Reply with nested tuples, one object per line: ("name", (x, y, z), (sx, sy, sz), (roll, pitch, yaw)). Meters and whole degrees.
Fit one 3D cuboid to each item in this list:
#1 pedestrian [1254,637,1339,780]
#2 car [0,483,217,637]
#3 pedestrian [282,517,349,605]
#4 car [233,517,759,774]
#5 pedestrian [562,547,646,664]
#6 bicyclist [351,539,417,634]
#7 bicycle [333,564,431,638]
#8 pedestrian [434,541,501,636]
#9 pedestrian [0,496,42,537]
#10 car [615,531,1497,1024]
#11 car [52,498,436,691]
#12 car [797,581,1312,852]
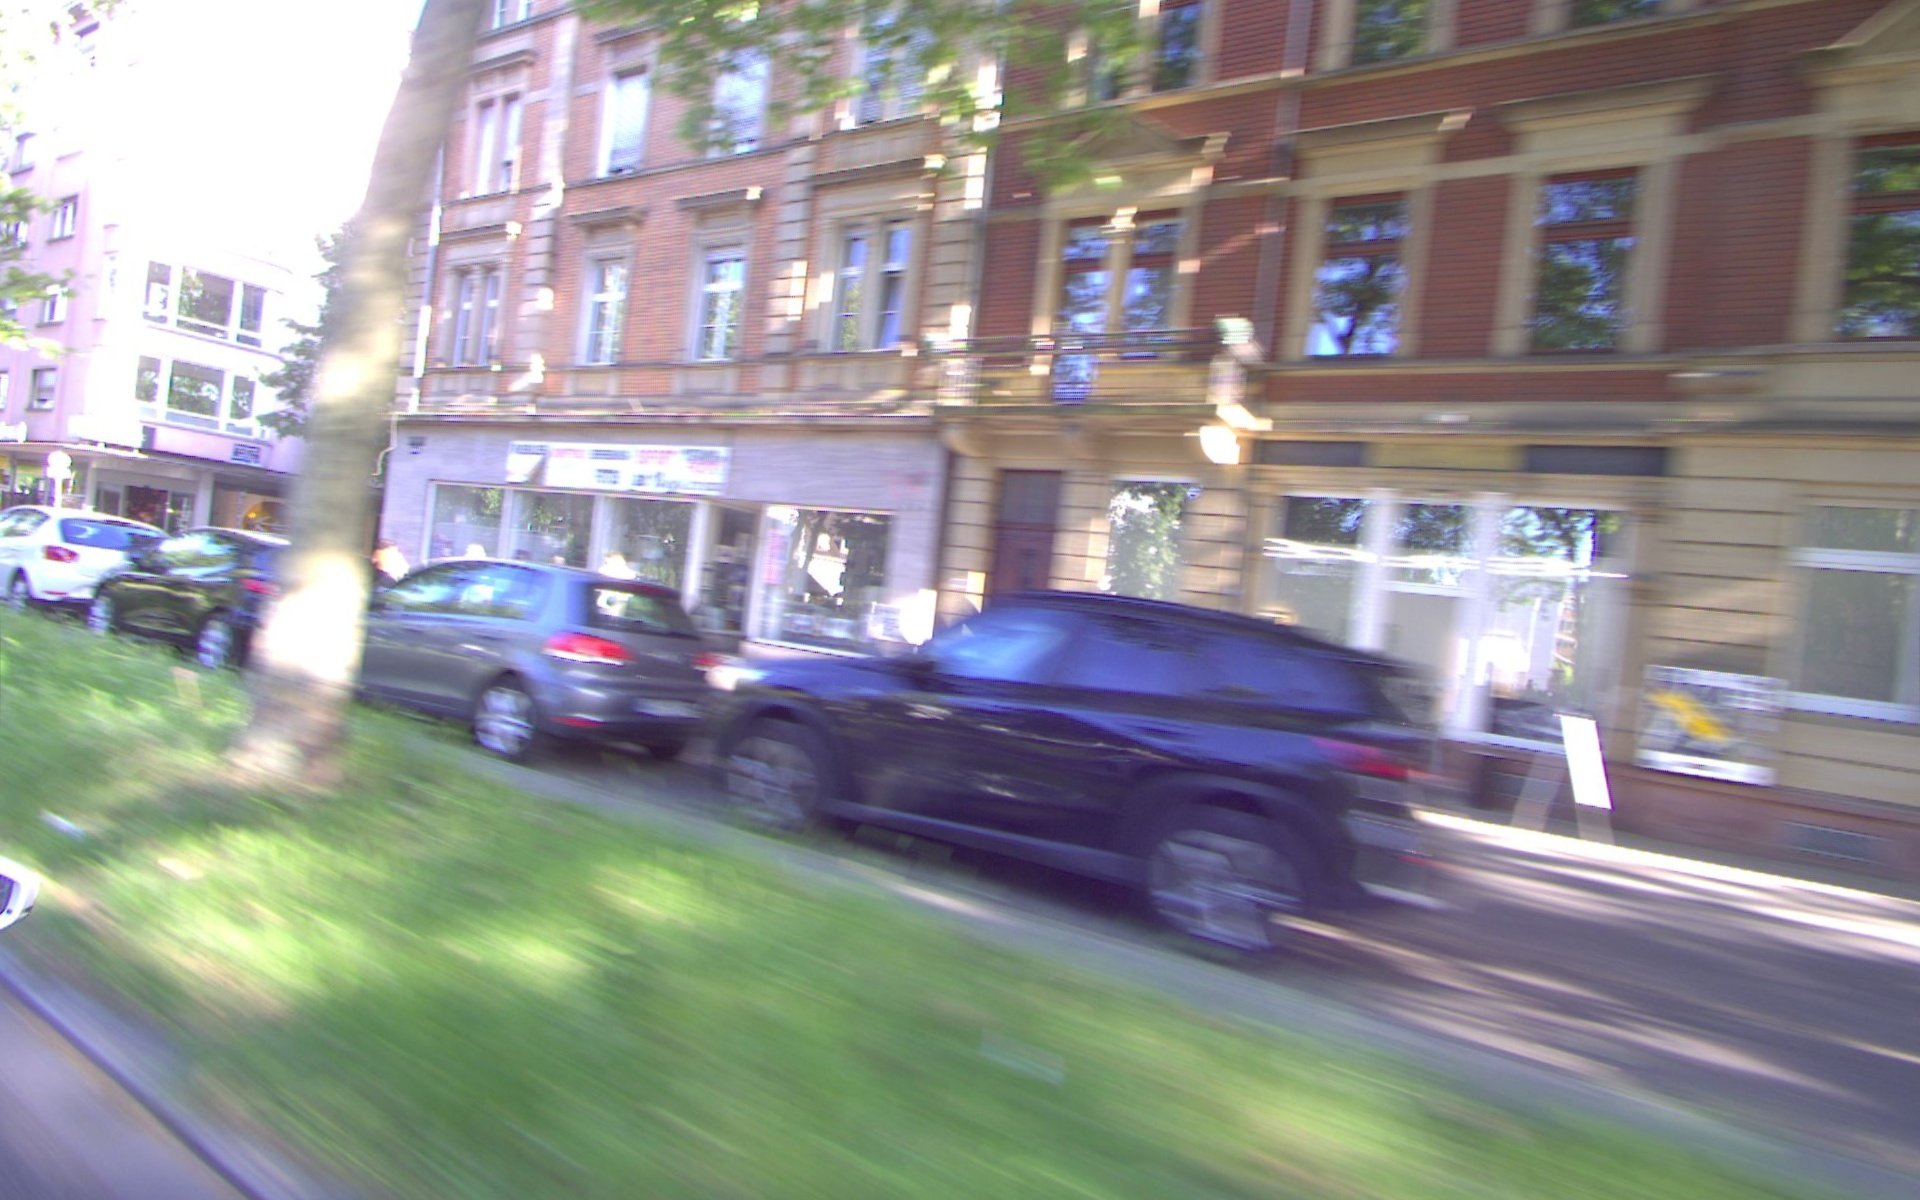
("pedestrian", (3.985, 1.266, 11.901), (0.682, 1.565, 0.649), (7, 0, 30))
("car", (-12.064, -0.608, 13.482), (4.114, 1.589, 1.759), (6, -4, 31))
("pedestrian", (-14.198, -0.862, 22.161), (1.062, 1.776, 0.692), (7, 0, 32))
("car", (-3.998, 0.320, 8.498), (4.291, 1.479, 1.742), (6, -4, 30))
("pedestrian", (-5.907, 0.087, 16.709), (0.942, 1.809, 0.692), (6, 0, 32))
("bicyclist", (-10.607, -0.241, 18.522), (0.687, 1.634, 0.660), (7, 0, 32))
("bicycle", (-10.647, 0.012, 18.510), (1.868, 1.140, 0.670), (6, -1, 32))
("pedestrian", (-9.431, -0.214, 19.268), (0.740, 1.705, 0.692), (7, 0, 32))
("pedestrian", (-32.893, -2.924, 35.006), (0.736, 1.271, 1.144), (7, 0, 32))
("car", (0.434, 0.740, 5.999), (4.719, 1.665, 1.897), (7, -4, 30))
("car", (-7.901, -0.093, 11.028), (4.114, 1.512, 1.759), (6, -4, 31))
("car", (0.770, 0.875, 9.018), (4.114, 1.598, 1.756), (6, 0, 31))
